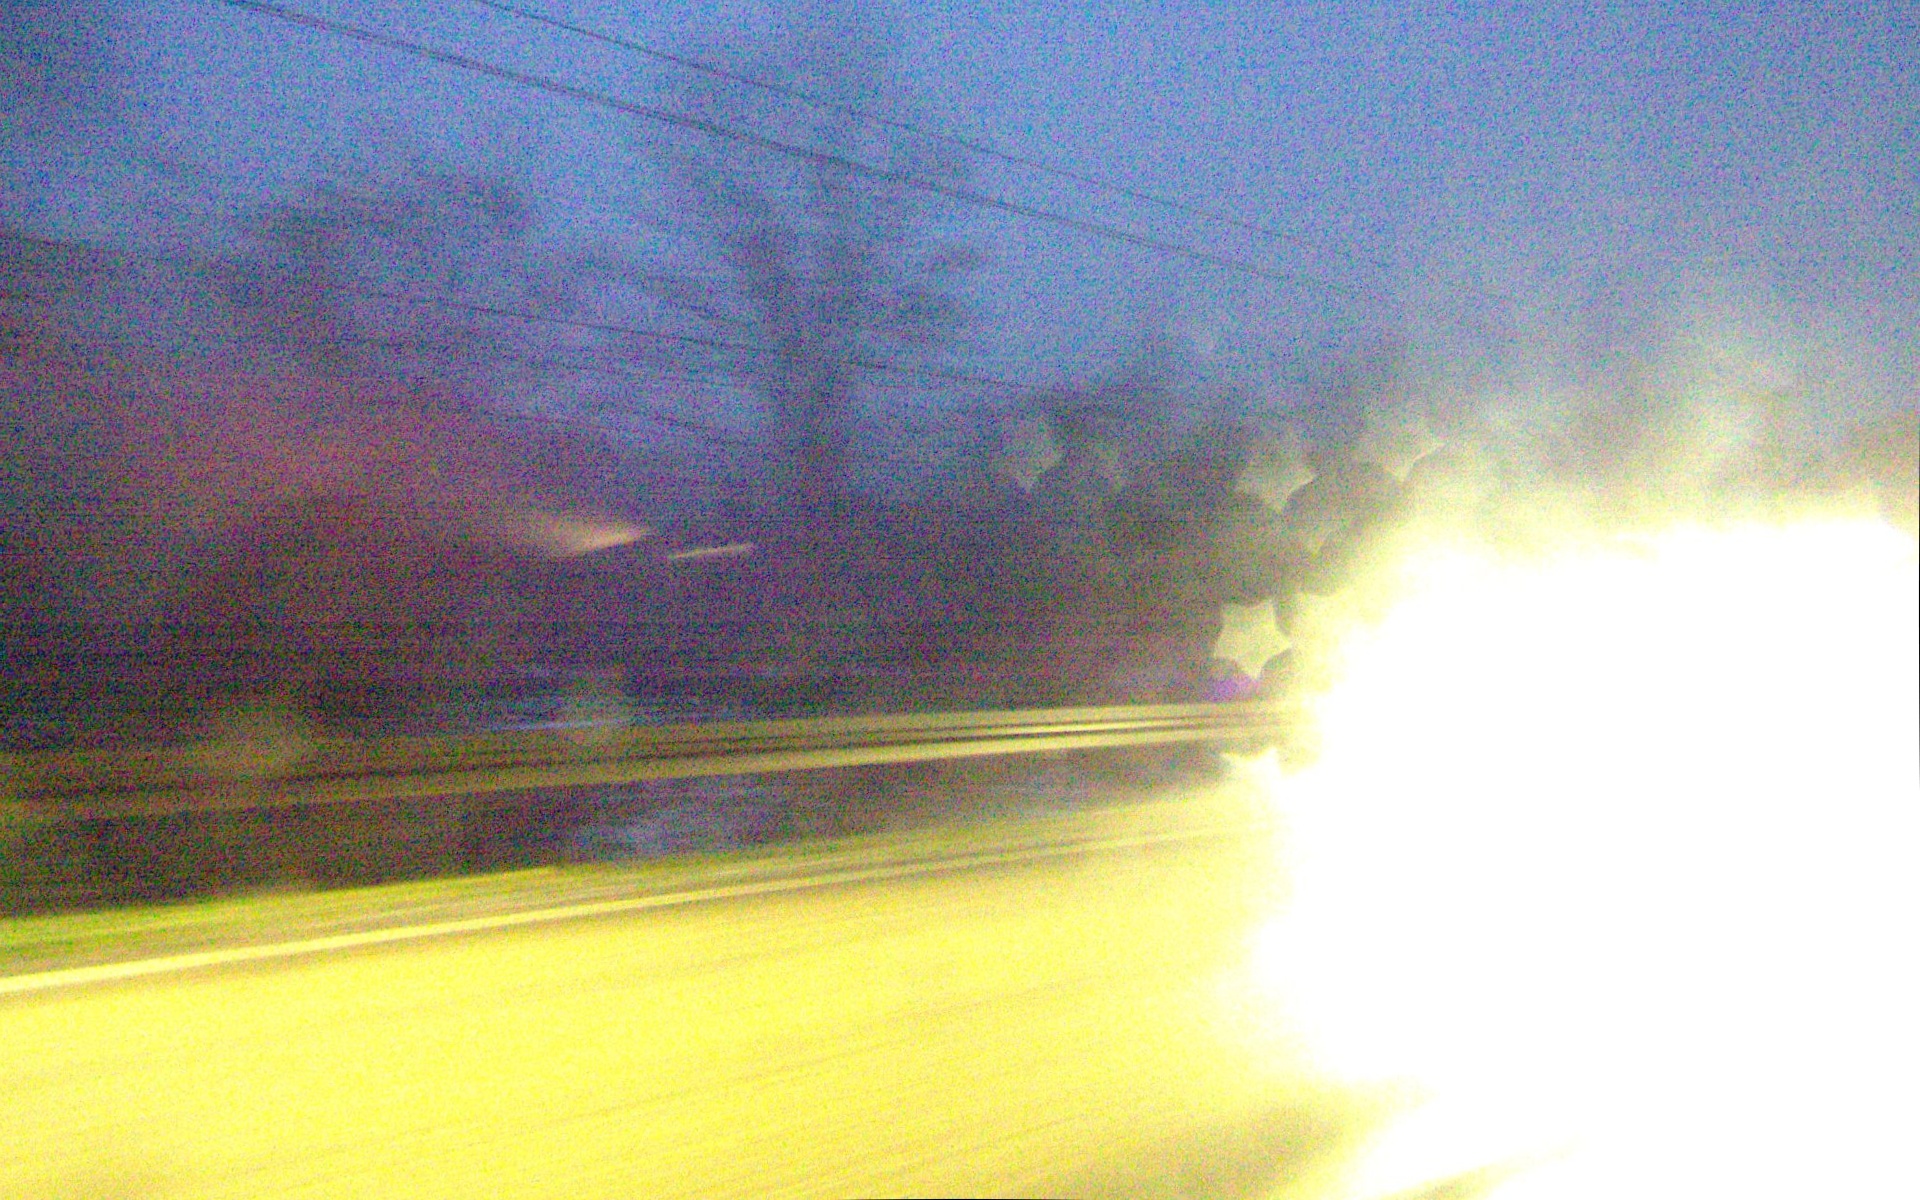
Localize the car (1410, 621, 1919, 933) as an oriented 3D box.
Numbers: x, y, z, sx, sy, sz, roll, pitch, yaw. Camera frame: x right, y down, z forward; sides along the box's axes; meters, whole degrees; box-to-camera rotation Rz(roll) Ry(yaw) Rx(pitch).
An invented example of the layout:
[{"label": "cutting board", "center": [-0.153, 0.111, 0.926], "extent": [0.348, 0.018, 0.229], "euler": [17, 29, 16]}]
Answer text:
[{"label": "car", "center": [5.029, 0.879, 6.536], "extent": [3.800, 1.409, 1.984], "euler": [1, 0, -30]}]
